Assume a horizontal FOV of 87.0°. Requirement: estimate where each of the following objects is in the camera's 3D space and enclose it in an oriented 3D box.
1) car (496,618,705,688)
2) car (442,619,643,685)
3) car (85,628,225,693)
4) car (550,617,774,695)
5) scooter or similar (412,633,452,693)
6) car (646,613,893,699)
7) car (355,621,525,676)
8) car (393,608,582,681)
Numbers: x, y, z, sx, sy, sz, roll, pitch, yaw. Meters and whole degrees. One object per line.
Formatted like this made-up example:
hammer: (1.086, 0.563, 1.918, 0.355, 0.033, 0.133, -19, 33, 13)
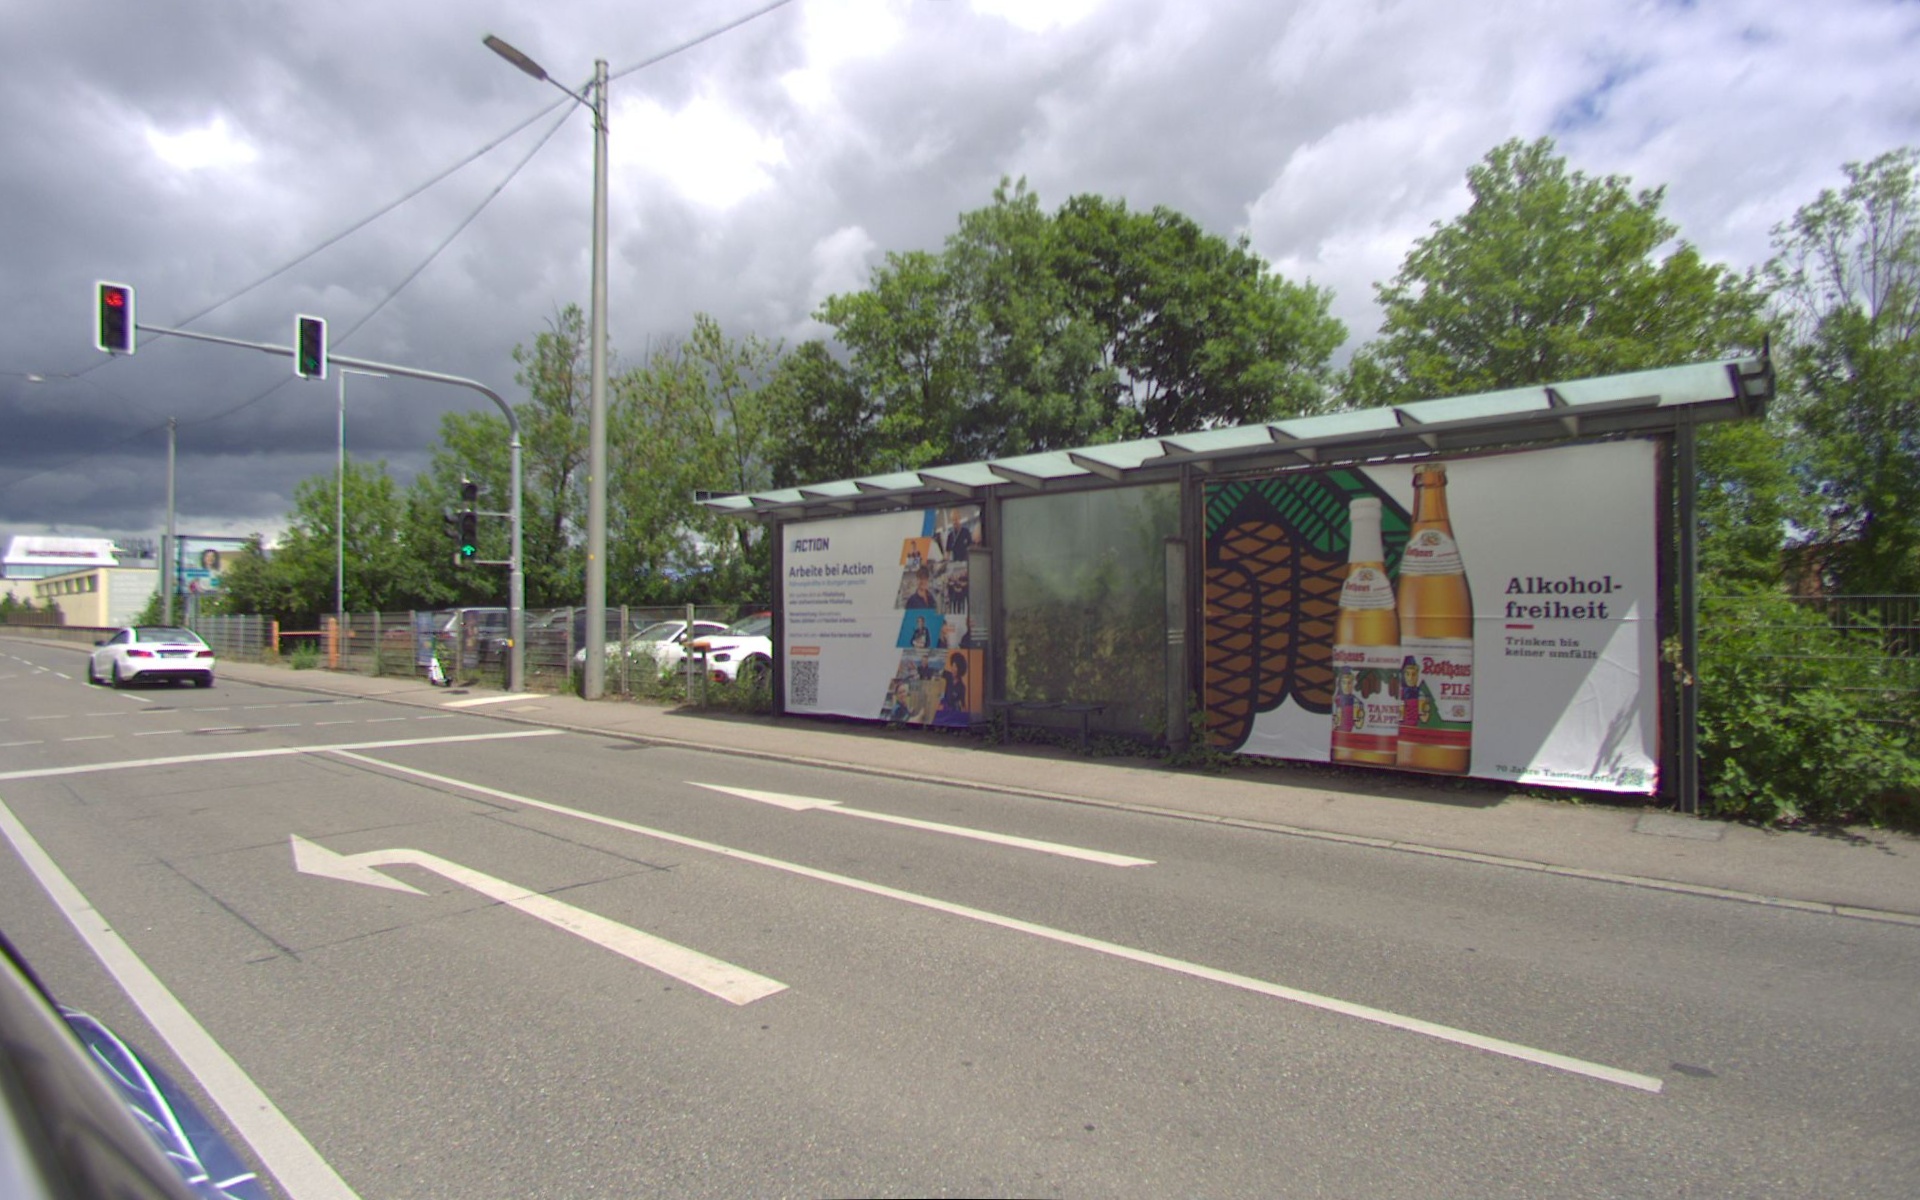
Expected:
car: (-8.073, 1.140, 23.017, 1.997, 1.430, 4.064, -1, -2, 37)
car: (-9.997, 1.187, 24.467, 1.998, 1.430, 4.061, -1, -2, 39)
car: (-19.048, 1.381, 23.880, 4.221, 1.387, 1.778, -2, -3, 40)
car: (-6.040, 1.071, 20.839, 1.915, 1.430, 4.060, -1, -2, 41)
scooter or similar: (-11.168, 1.308, 21.407, 0.419, 1.220, 1.127, -1, 0, -45)
car: (-3.489, 0.975, 19.153, 2.024, 1.430, 4.265, -1, -2, 42)
car: (-14.438, 1.304, 28.306, 1.896, 1.430, 3.823, -1, -1, 32)
car: (-12.293, 1.114, 26.548, 1.996, 1.748, 4.066, -1, -2, 36)
